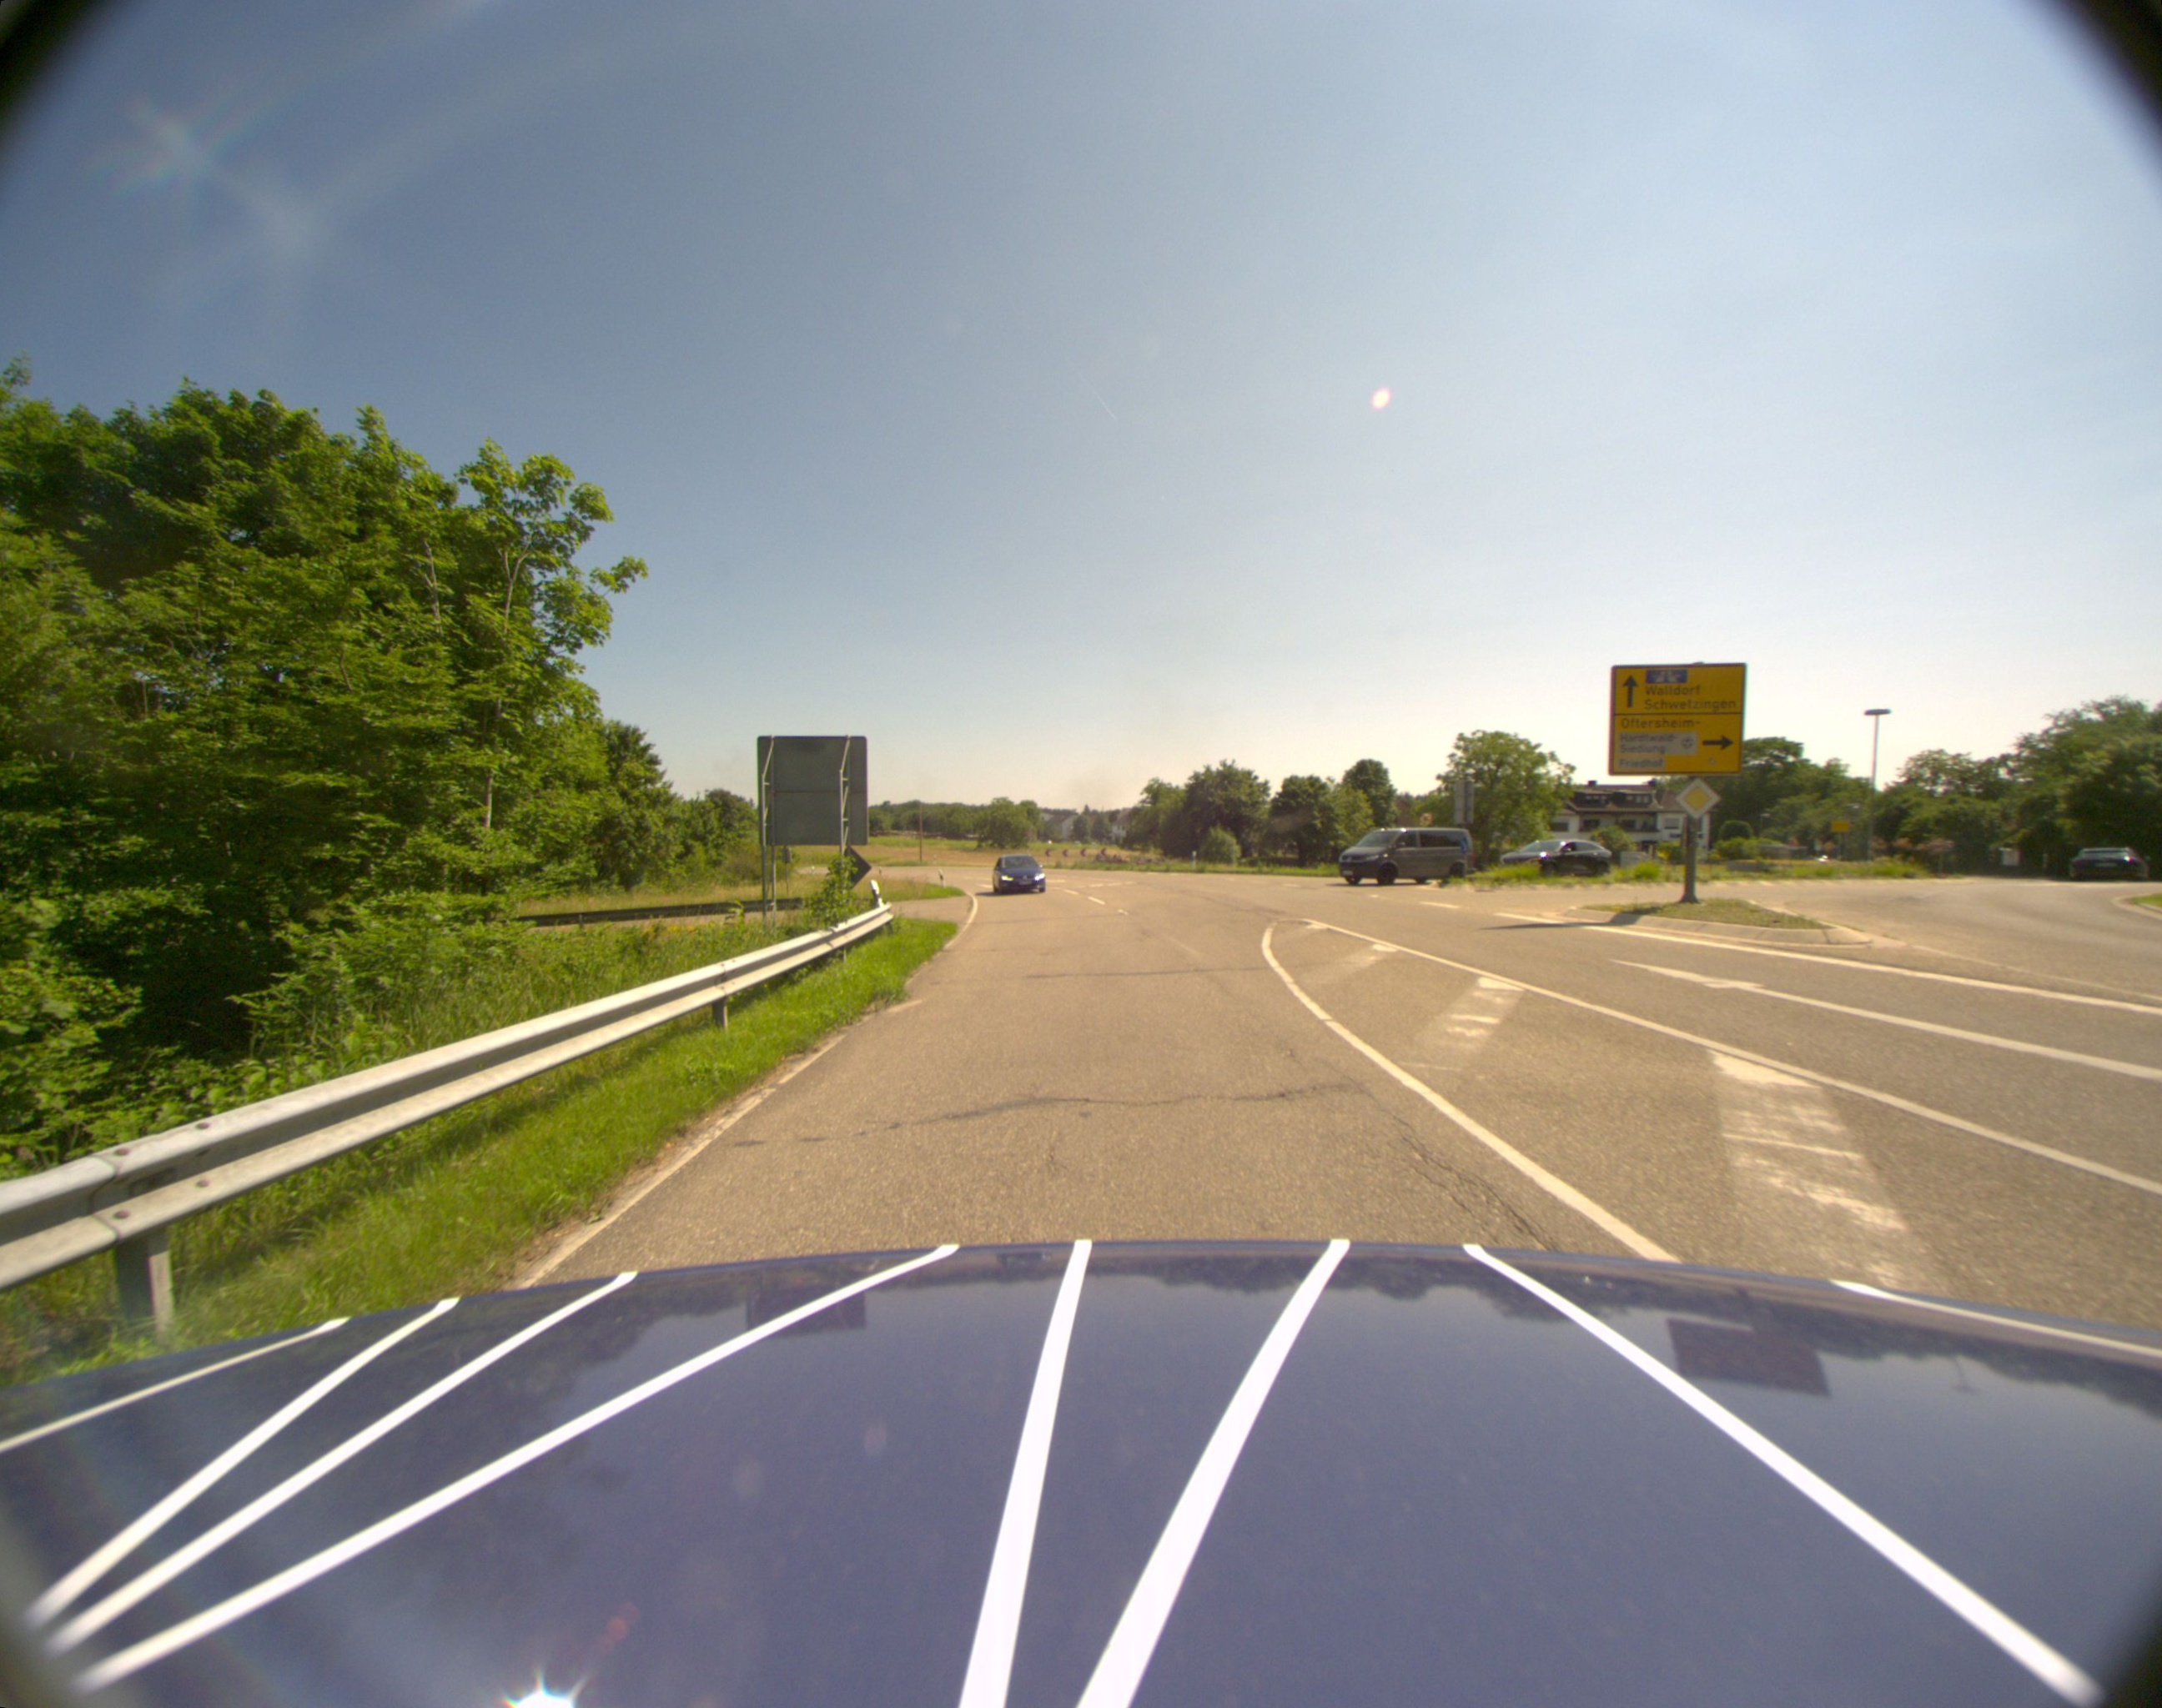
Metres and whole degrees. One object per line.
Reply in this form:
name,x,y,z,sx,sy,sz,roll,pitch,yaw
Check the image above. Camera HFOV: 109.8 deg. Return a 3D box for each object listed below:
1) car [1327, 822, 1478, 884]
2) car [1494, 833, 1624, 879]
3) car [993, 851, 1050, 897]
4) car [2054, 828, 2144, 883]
car,11.200,-0.070,26.518,4.770,2.002,1.996,-1,1,-20
car,18.002,0.058,28.619,4.379,1.636,1.746,-1,1,-18
car,-2.509,0.762,31.110,1.830,1.592,4.191,-4,2,-10
car,41.583,0.025,31.138,4.007,2.002,1.994,-3,2,-39
